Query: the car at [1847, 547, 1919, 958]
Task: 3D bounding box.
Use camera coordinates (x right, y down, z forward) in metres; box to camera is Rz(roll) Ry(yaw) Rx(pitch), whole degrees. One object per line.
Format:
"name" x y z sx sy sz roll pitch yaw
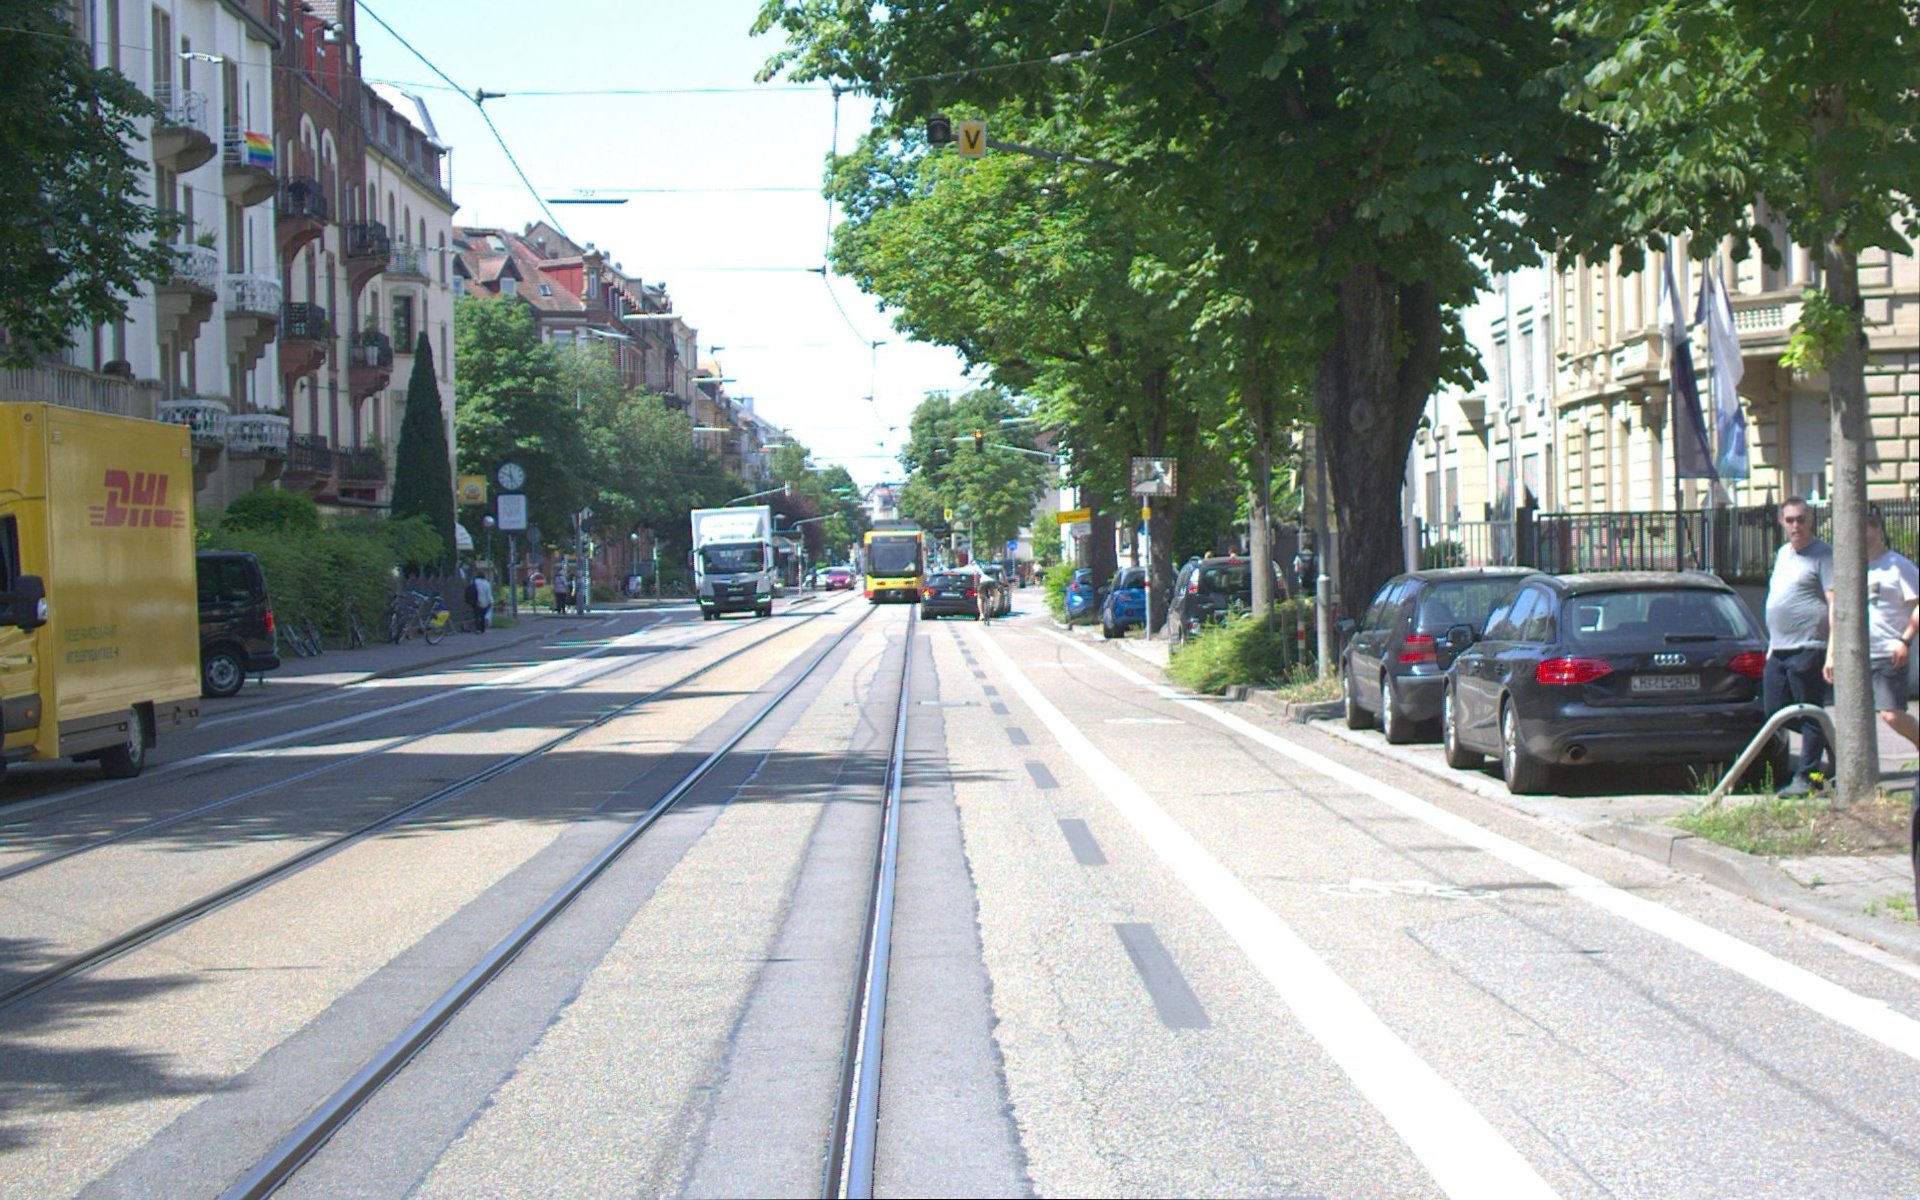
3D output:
"car" 4.347 0.529 11.200 1.639 1.480 3.873 -2 0 -4

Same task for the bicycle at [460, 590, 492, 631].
"bicycle" -11.958 0.254 84.990 0.543 0.966 1.781 0 2 0

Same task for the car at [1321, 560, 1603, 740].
"car" 4.311 0.398 30.098 1.710 1.418 4.244 -2 0 -1

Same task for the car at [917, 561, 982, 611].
"car" -0.305 -0.413 97.434 1.781 1.341 3.416 -1 1 0

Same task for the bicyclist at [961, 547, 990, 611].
"bicyclist" 0.409 -0.540 88.415 0.622 1.610 0.864 0 -1 9

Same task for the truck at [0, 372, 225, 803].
"truck" -7.495 -0.098 25.384 2.360 2.843 7.378 -2 1 1

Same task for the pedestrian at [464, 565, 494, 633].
"pedestrian" -11.509 -0.033 82.303 0.572 1.610 0.816 -1 1 0

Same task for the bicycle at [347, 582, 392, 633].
"bicycle" -11.756 0.145 68.487 0.543 0.966 1.990 0 1 0

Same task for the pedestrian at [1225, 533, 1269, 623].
"pedestrian" 5.998 -0.454 71.871 0.808 1.853 0.576 -1 -1 -2

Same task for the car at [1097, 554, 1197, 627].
"car" 3.849 -0.193 71.382 1.710 1.418 4.310 -2 0 -1

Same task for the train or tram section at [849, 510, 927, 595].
"train or tram section" -3.012 -2.023 146.389 3.035 3.427 11.971 -1 1 0

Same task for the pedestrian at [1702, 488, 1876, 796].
"pedestrian" 5.128 0.251 21.284 0.575 1.853 0.811 -2 1 -36

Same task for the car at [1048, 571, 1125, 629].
"car" 3.286 -0.003 89.714 1.710 1.418 4.310 -2 0 -1

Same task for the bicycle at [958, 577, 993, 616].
"bicycle" 0.403 -0.092 88.268 0.639 0.966 1.780 0 -1 9

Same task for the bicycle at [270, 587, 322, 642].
"bicycle" -11.798 0.256 61.085 0.543 0.966 1.990 0 0 0

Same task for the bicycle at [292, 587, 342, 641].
"bicycle" -11.804 0.271 63.141 0.543 0.966 1.990 0 -1 0

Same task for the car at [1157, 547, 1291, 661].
"car" 3.971 0.054 52.147 1.592 1.611 3.908 -2 0 -1

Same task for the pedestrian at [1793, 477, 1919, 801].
"pedestrian" 5.381 0.219 20.116 0.575 1.853 0.726 -2 1 -36

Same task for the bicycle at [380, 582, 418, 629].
"bicycle" -12.090 0.115 74.149 0.543 0.966 1.781 0 1 0

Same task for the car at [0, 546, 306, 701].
"car" -11.207 0.298 46.111 4.474 1.934 1.703 -2 0 -39

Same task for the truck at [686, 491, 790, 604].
"truck" -7.296 -1.755 114.047 2.939 3.538 8.453 -1 1 -1

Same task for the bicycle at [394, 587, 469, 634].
"bicycle" -10.912 0.221 71.032 0.544 0.966 1.778 0 -1 29

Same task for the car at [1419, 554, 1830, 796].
"car" 4.433 0.455 23.622 1.876 1.450 4.528 -2 0 0

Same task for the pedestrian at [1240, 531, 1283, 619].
"pedestrian" 6.479 -0.532 73.826 0.808 1.853 0.623 -1 -1 -2

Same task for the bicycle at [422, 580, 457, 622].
"bicycle" -12.196 0.010 80.596 0.543 0.966 1.781 0 1 0

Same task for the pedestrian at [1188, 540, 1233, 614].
"pedestrian" 5.320 -0.484 73.020 0.809 1.525 0.623 -1 -1 17

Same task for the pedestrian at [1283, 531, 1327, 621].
"pedestrian" 7.252 -0.503 72.305 0.808 1.853 0.623 -1 -1 -2
